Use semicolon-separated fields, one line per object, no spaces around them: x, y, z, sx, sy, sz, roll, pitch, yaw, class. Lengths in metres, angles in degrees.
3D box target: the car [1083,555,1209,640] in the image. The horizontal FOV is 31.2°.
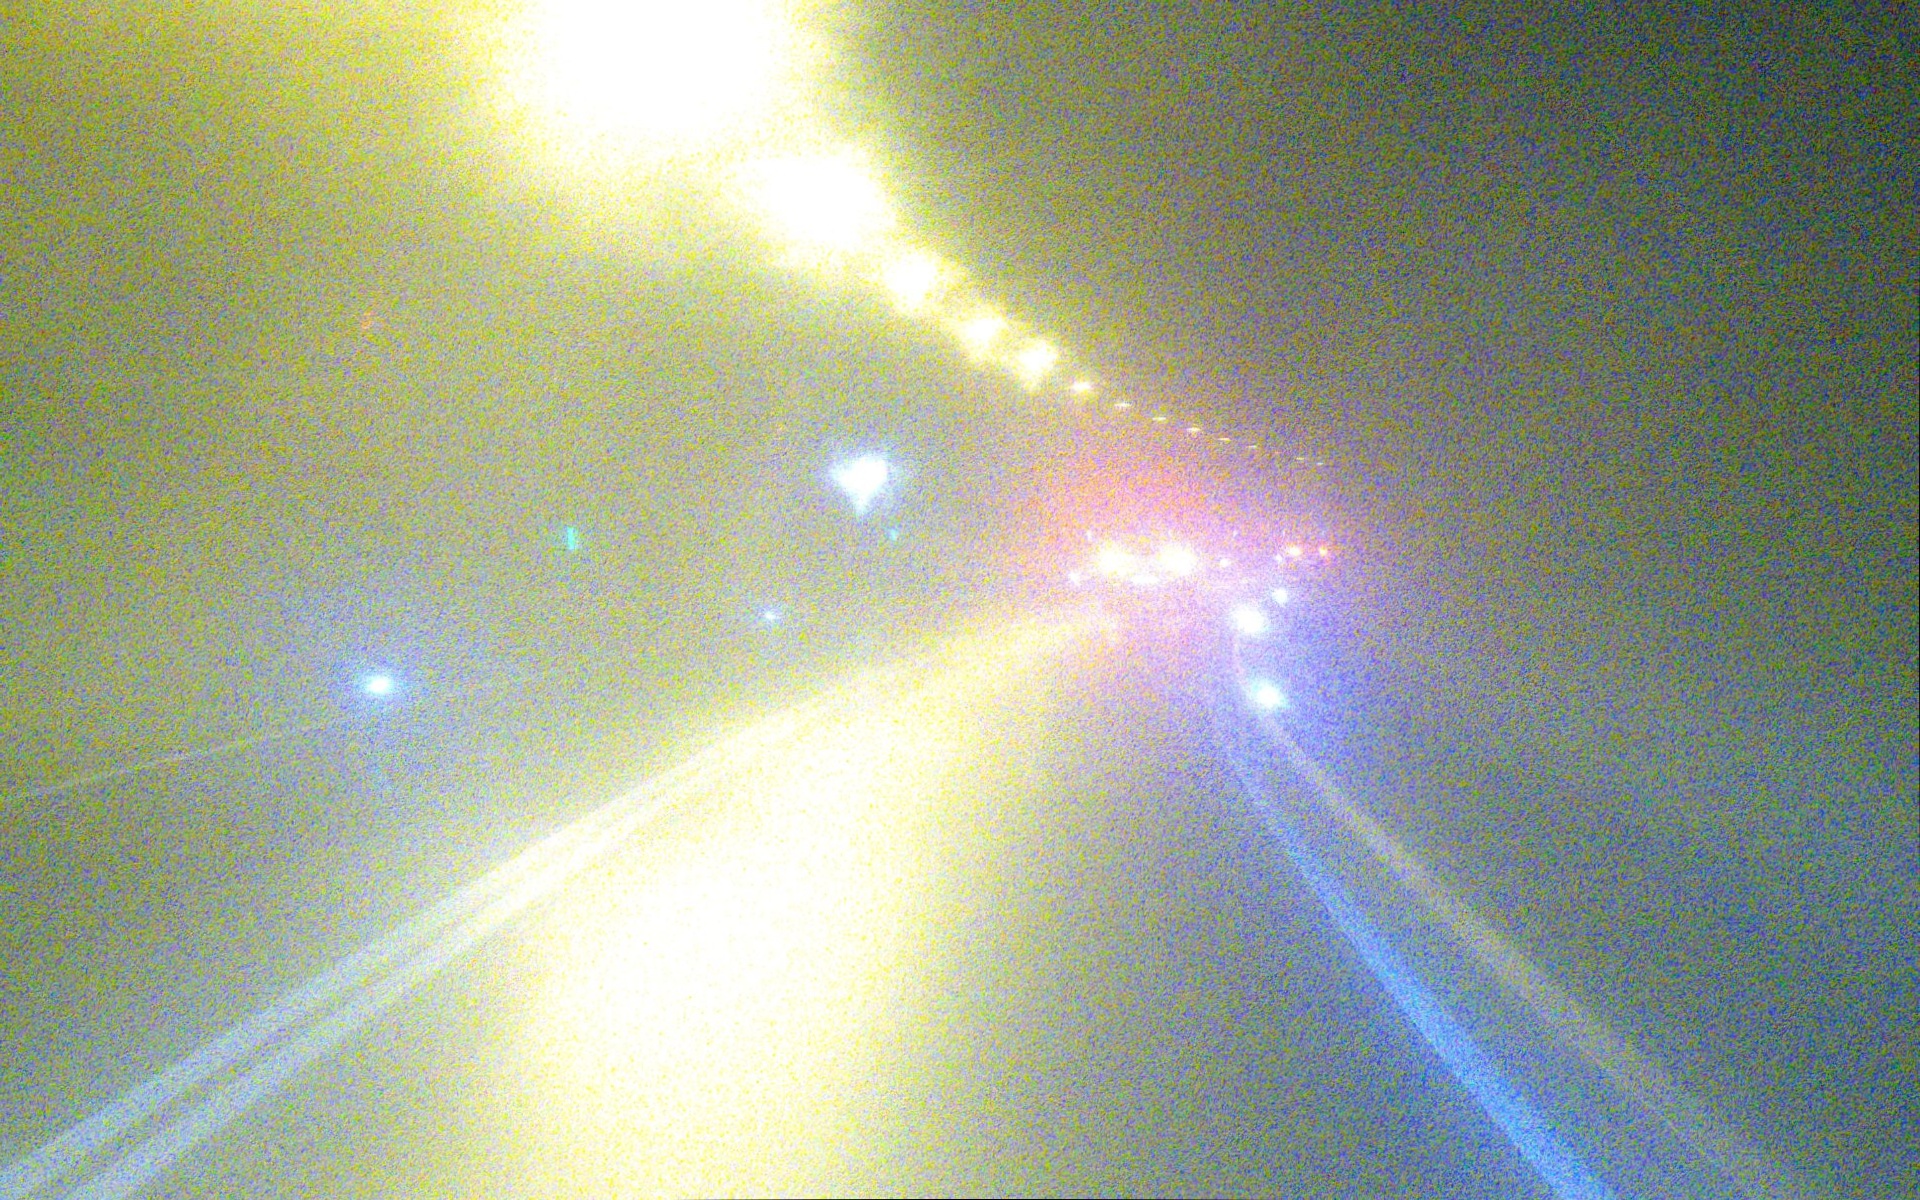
3.834;-0.065;70.129;2.090;1.656;3.998;1;0;10;car
